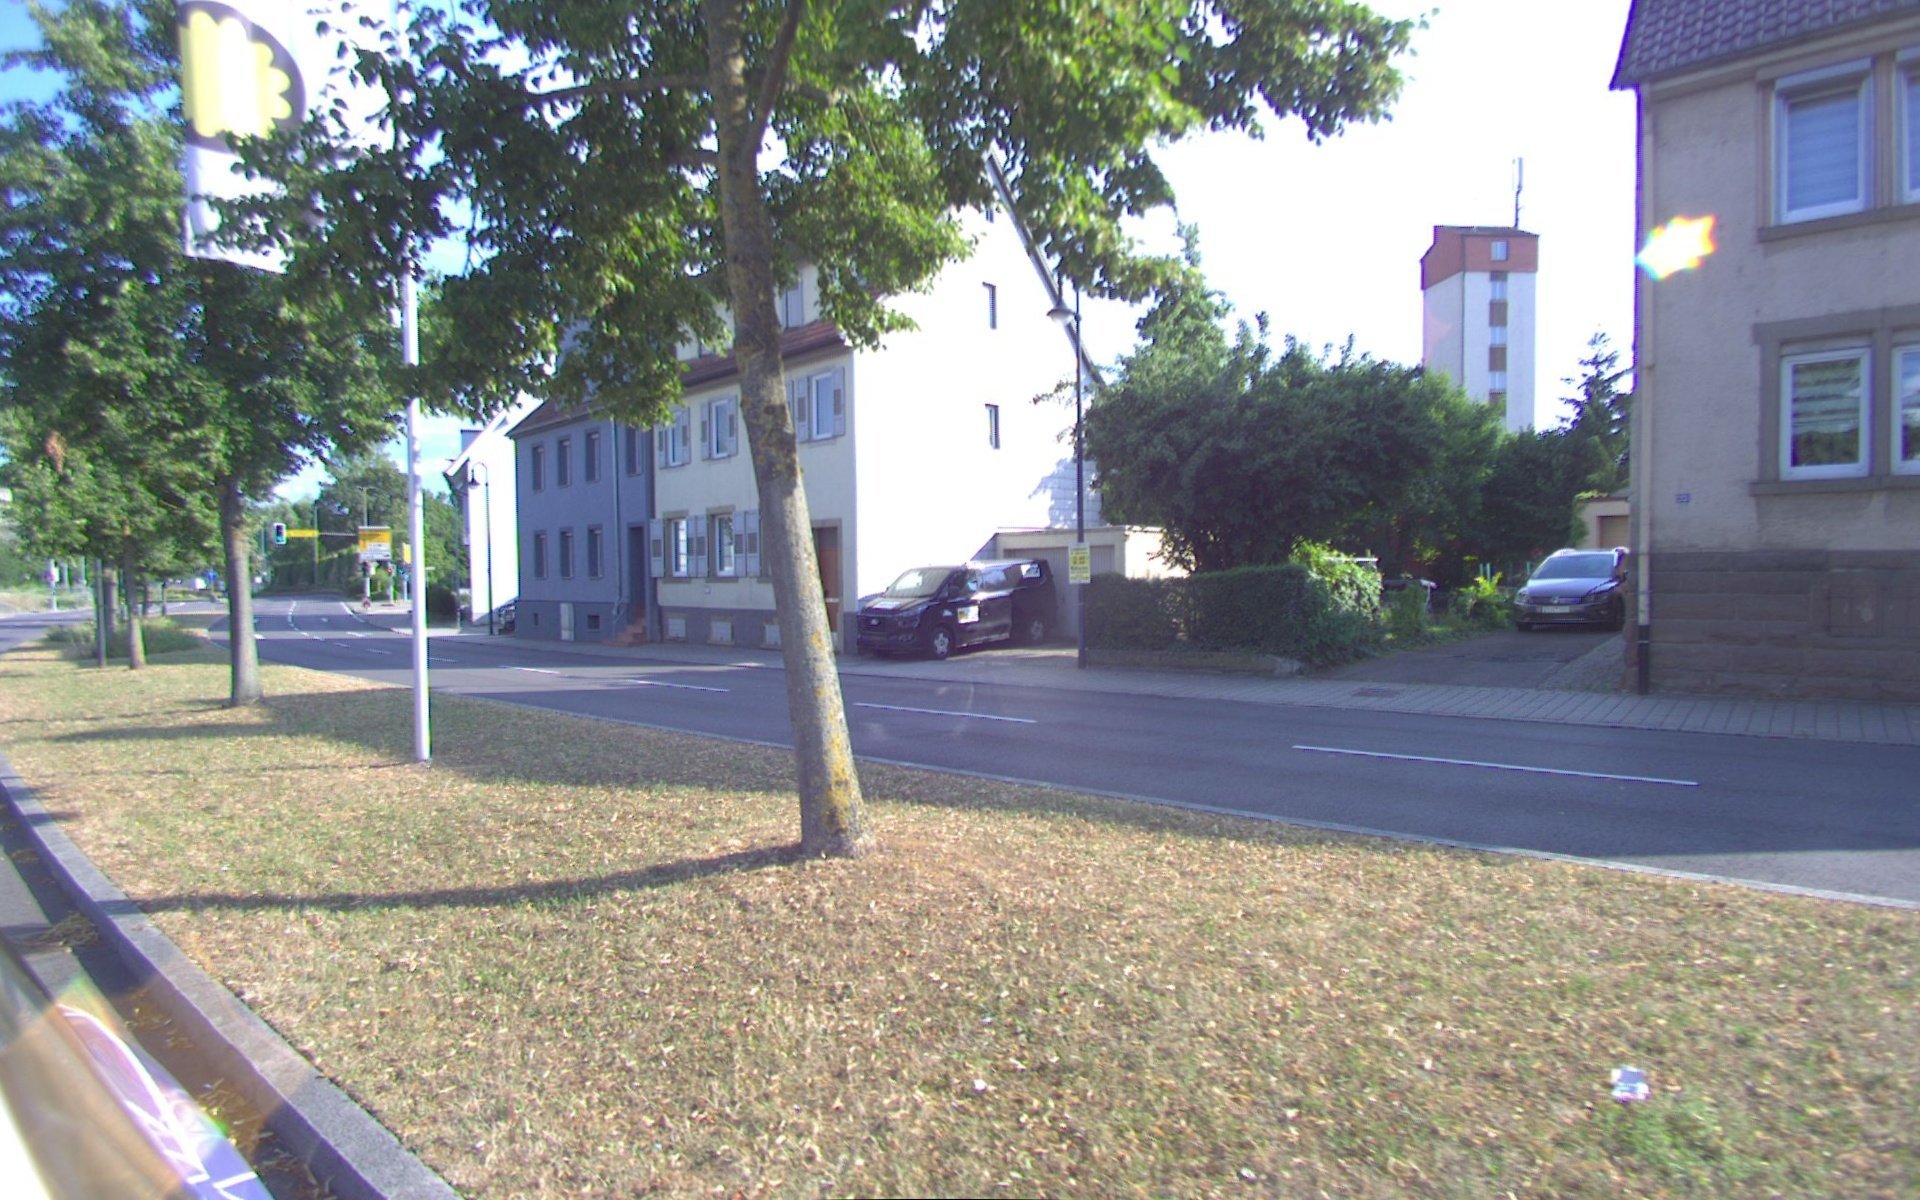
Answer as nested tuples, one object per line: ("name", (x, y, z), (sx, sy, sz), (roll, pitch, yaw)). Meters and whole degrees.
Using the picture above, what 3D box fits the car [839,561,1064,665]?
("car", (-0.077, 0.203, 22.054), (4.768, 1.891, 2.002), (-5, 2, -44))

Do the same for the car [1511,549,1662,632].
("car", (12.557, -0.231, 20.197), (3.653, 1.497, 1.688), (-3, 1, -44))
